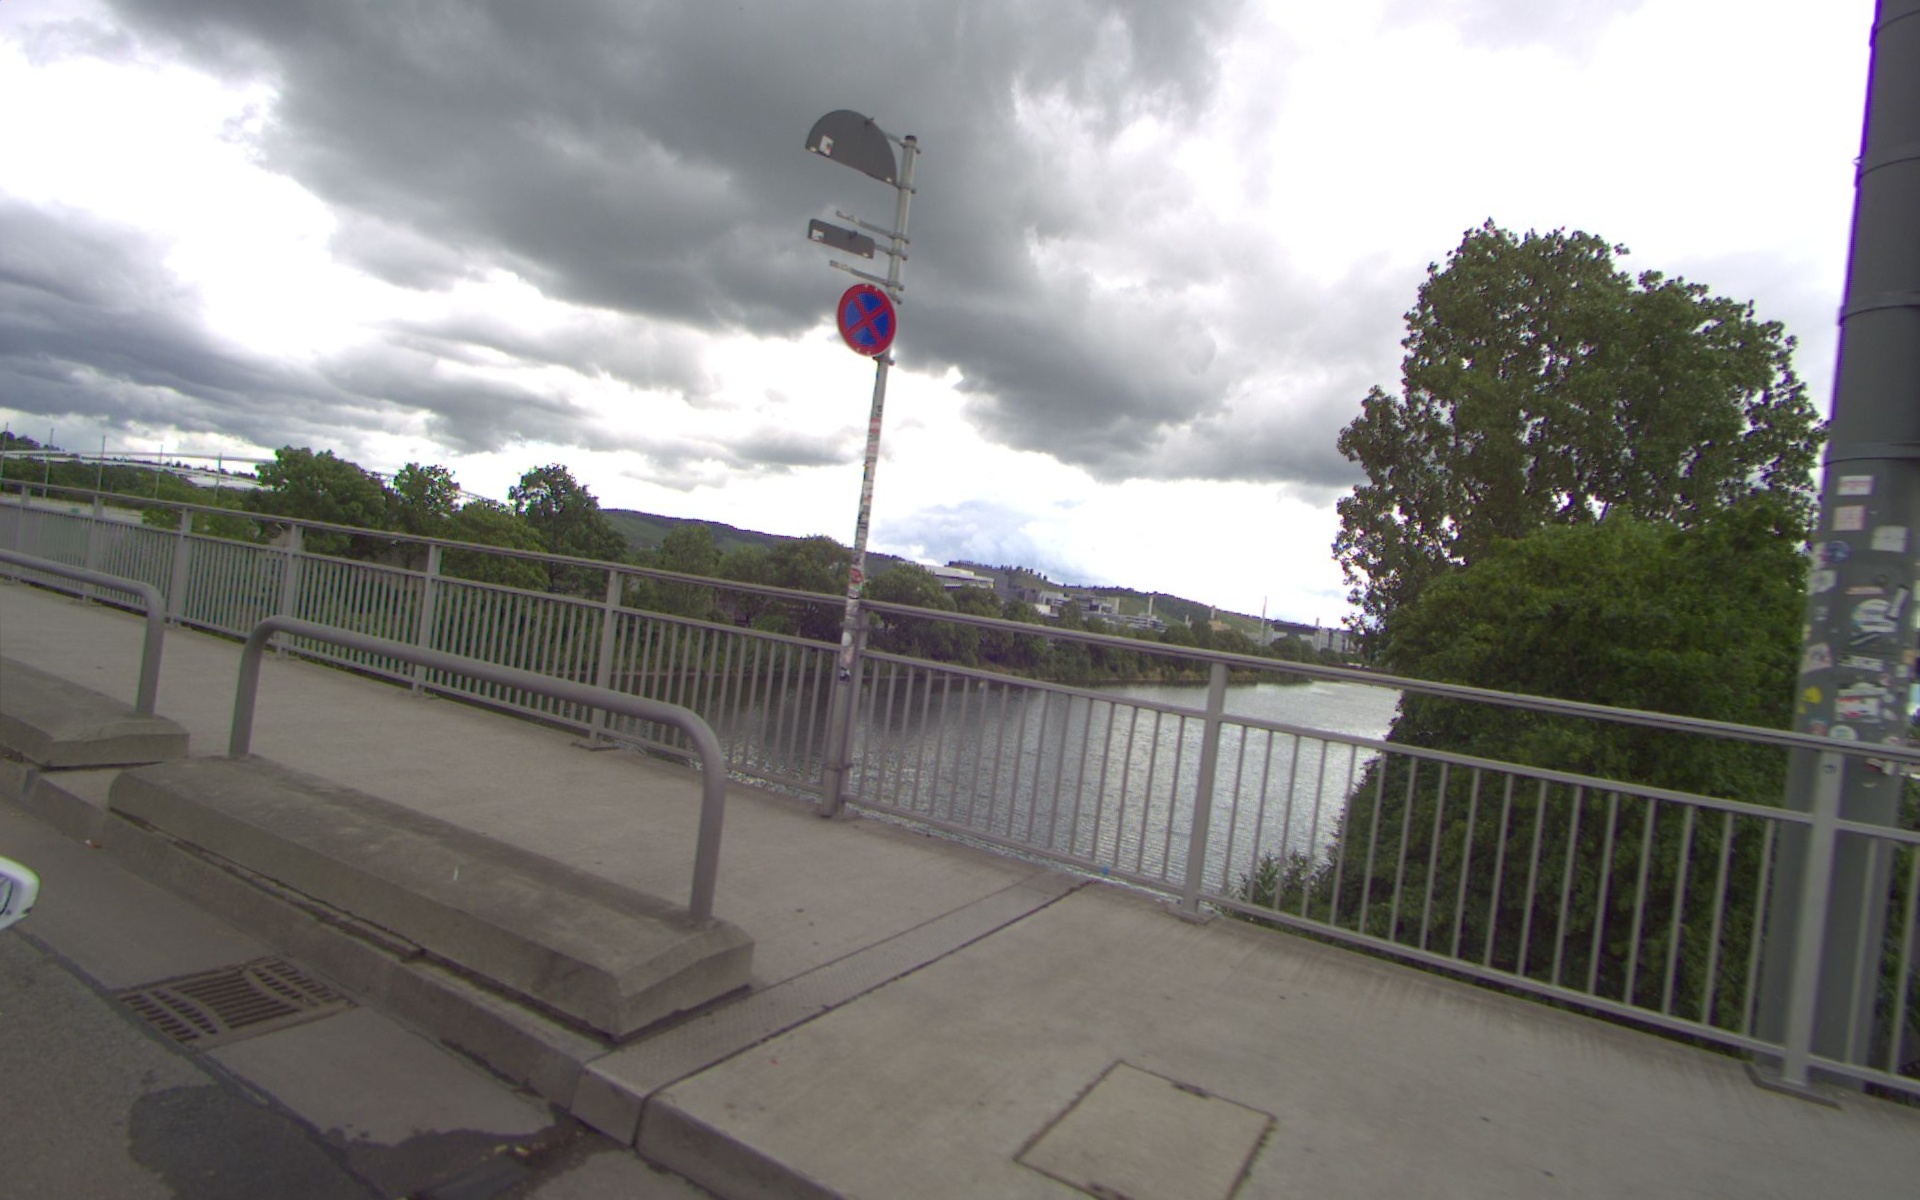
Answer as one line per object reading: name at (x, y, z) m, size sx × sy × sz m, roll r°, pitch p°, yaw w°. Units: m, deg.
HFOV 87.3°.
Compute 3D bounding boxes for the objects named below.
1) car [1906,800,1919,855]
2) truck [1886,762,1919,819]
car at (28.460, 6.659, 28.256) m, size 1.666 × 1.556 × 3.760 m, roll 6°, pitch -3°, yaw 28°
truck at (94.745, 18.976, 97.640) m, size 3.526 × 4.544 × 13.152 m, roll 7°, pitch 1°, yaw 28°
